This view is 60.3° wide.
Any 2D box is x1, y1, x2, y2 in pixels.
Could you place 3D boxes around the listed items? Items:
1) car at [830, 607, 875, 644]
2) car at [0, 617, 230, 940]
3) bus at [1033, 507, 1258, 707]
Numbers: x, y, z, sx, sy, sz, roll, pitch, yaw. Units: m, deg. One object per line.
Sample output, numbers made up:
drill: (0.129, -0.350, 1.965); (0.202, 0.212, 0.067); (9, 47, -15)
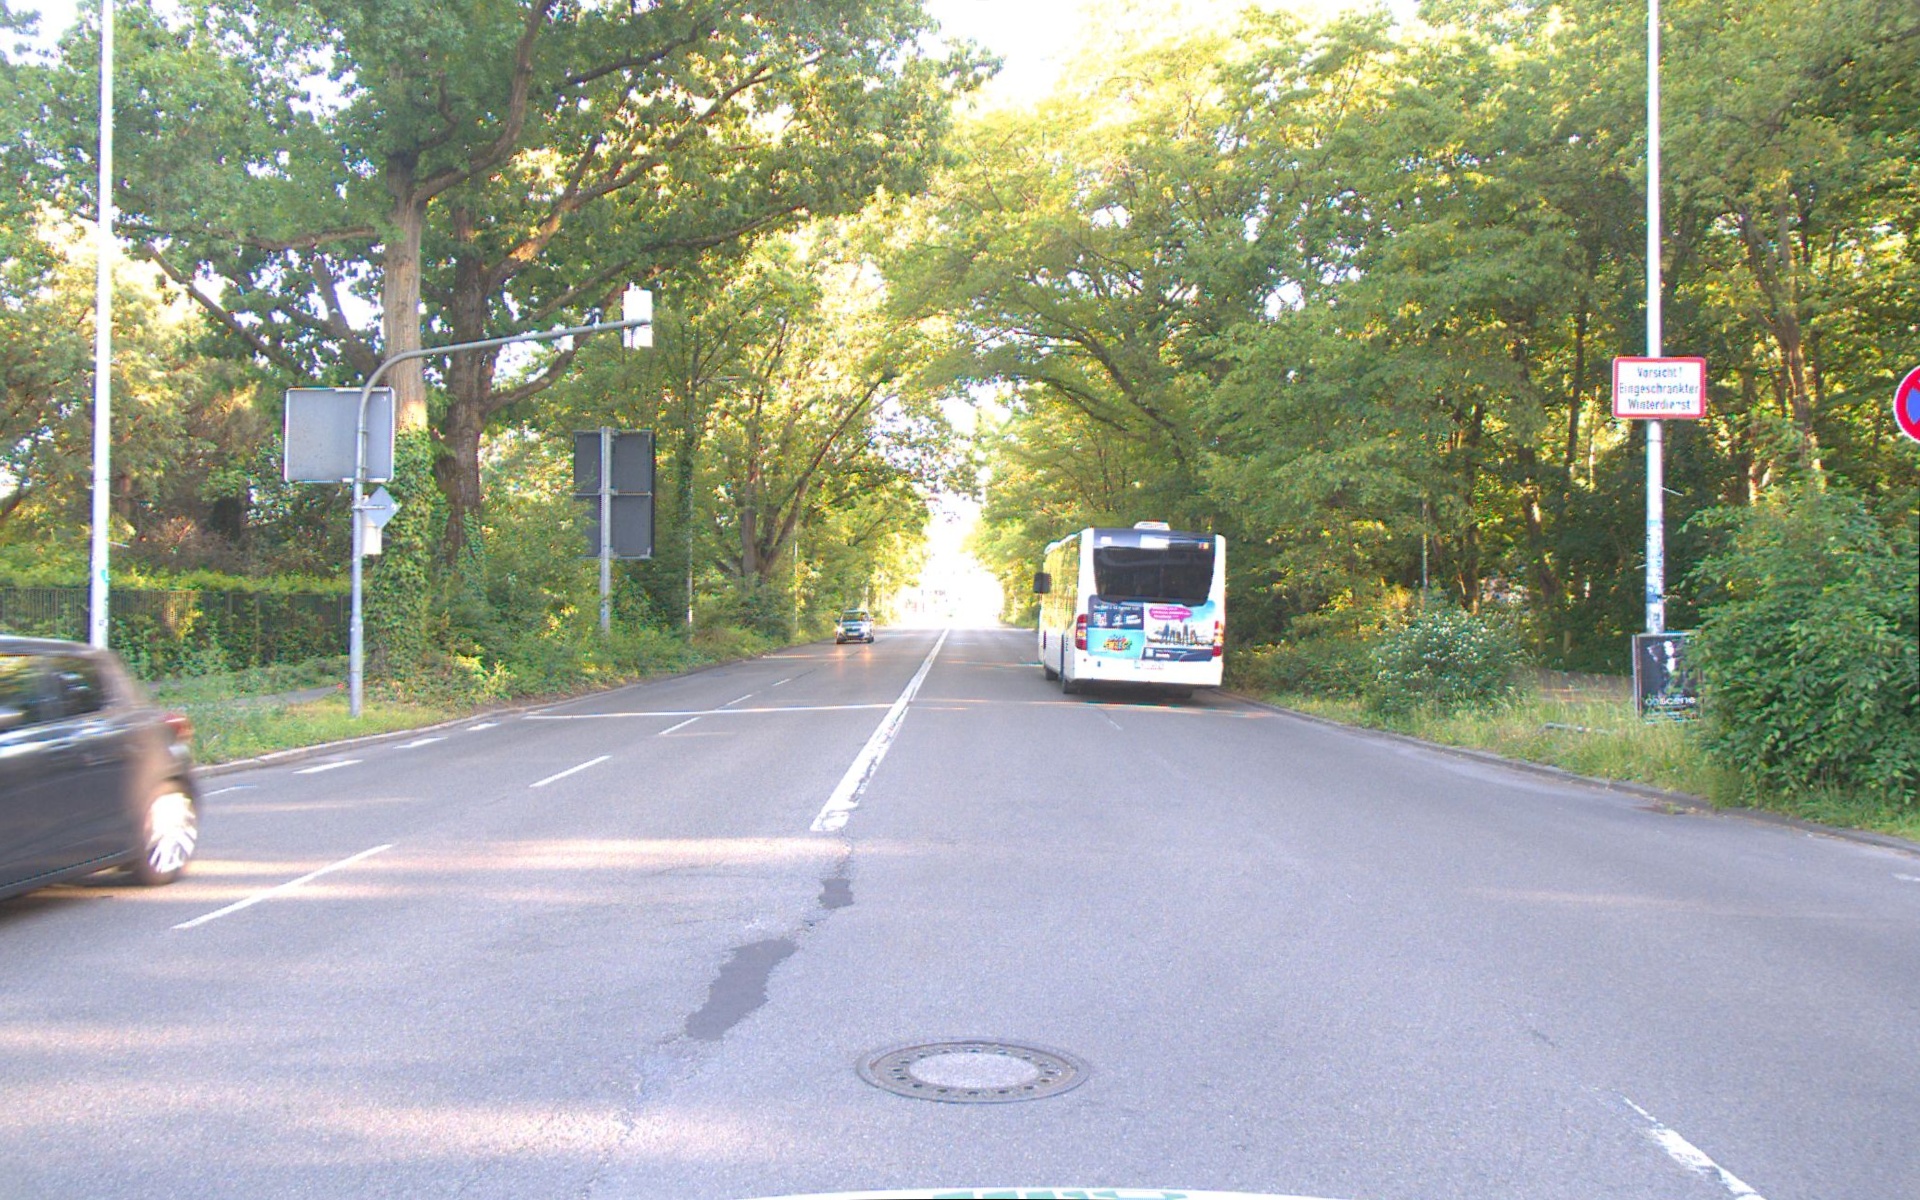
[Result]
car: (-4.960, 1.156, 76.598); (1.770, 1.607, 4.319); (-2, 0, 0)
car: (-5.305, 0.875, 8.246); (1.673, 1.478, 3.639); (-3, 0, 0)
bus: (3.317, 0.148, 33.239); (2.951, 3.141, 12.268); (3, 0, 0)
